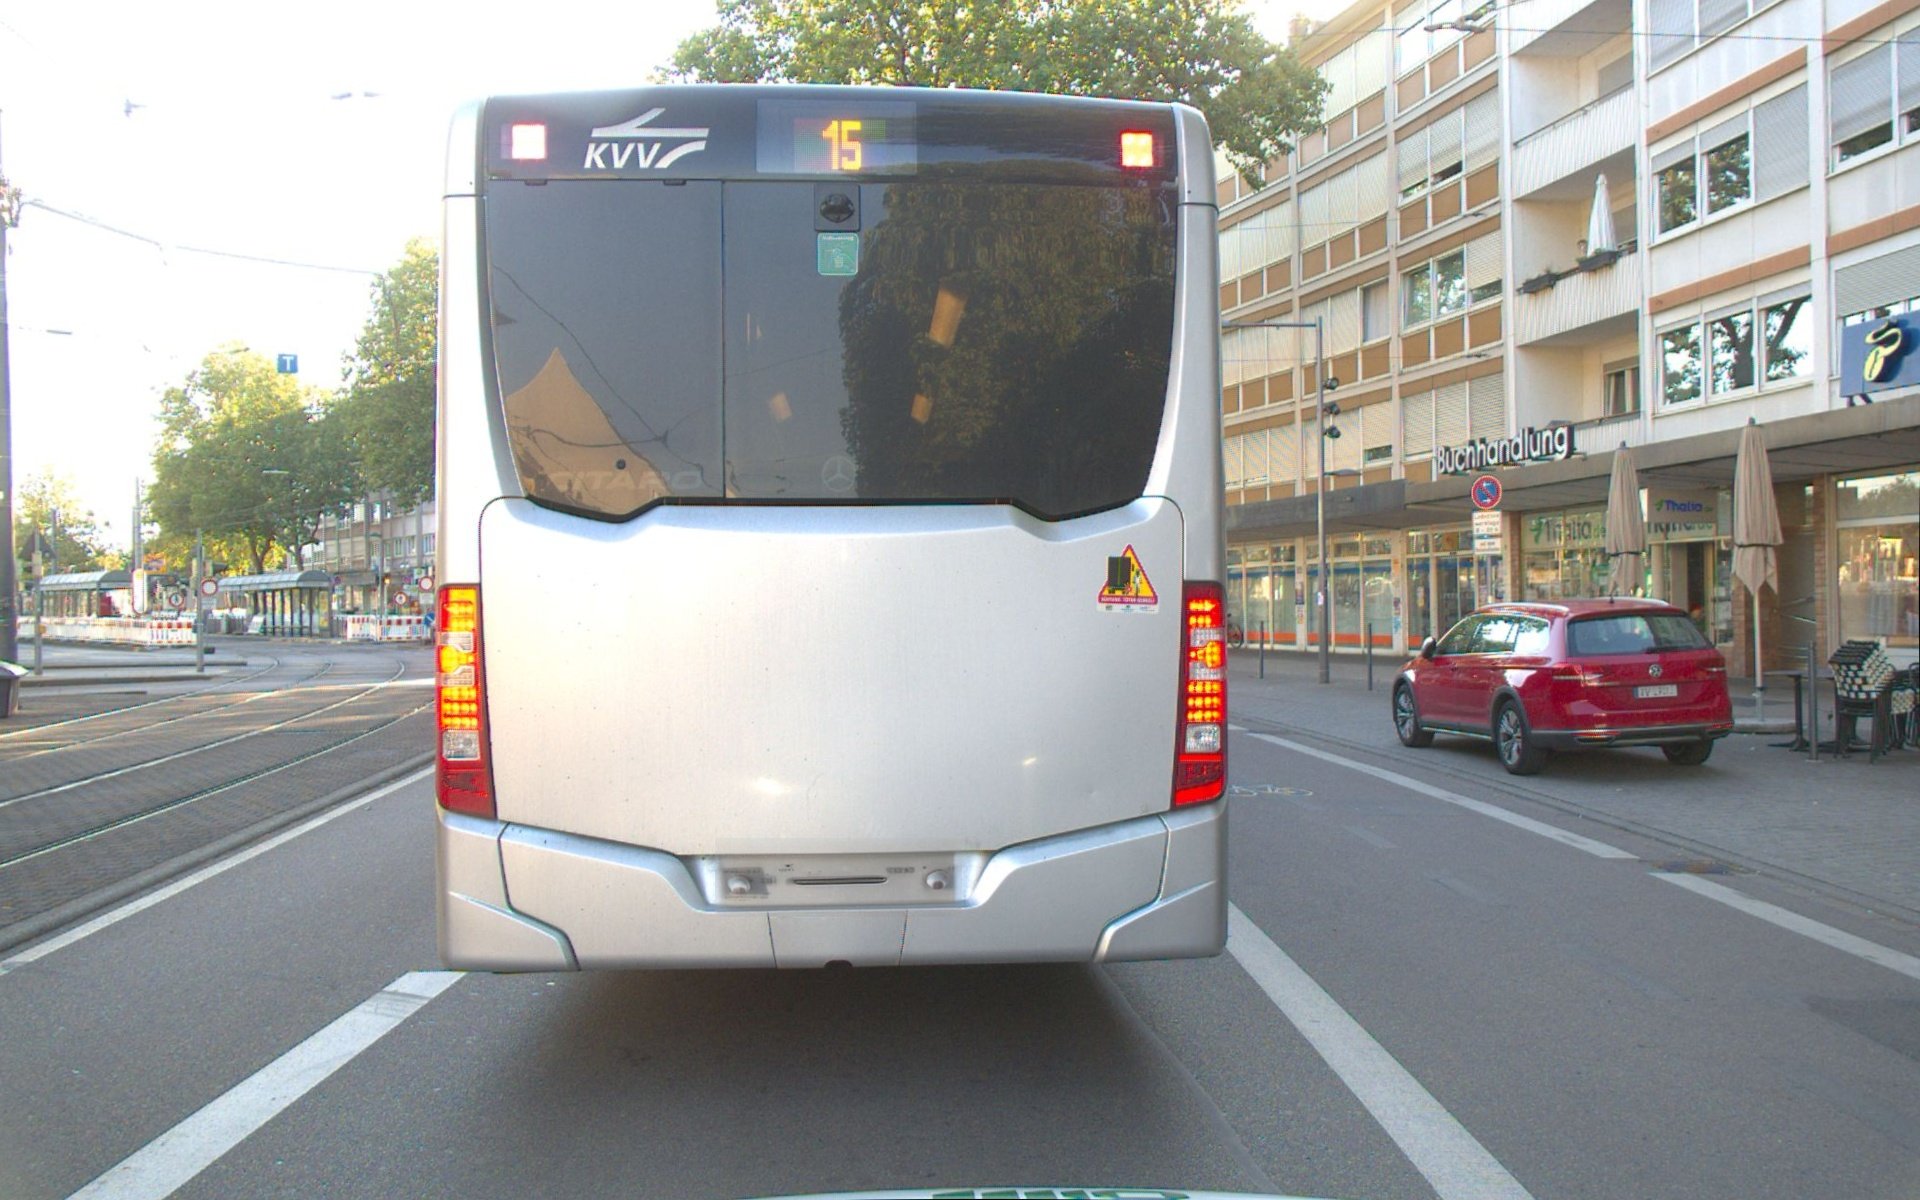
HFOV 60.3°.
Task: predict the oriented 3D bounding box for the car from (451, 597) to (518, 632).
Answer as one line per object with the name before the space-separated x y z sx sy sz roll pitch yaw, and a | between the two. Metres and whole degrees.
car | -25.253 0.754 87.762 1.982 1.823 3.940 1 -1 -41

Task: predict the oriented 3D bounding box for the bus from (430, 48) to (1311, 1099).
bus | -0.331 -0.062 9.878 2.577 3.081 9.995 0 0 -1

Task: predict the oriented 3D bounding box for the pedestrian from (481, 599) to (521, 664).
pedestrian | -12.220 0.832 44.027 0.977 1.716 0.642 0 -2 -13

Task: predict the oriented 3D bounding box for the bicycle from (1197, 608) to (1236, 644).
bicycle | 7.113 0.712 45.832 0.406 0.961 1.431 -1 0 -20

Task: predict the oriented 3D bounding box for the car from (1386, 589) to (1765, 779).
car | 5.690 0.703 15.919 1.735 1.508 4.299 -2 0 -4

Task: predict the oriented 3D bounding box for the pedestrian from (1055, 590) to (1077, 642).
pedestrian | 3.449 0.517 53.903 0.527 1.677 0.612 -1 0 -18
